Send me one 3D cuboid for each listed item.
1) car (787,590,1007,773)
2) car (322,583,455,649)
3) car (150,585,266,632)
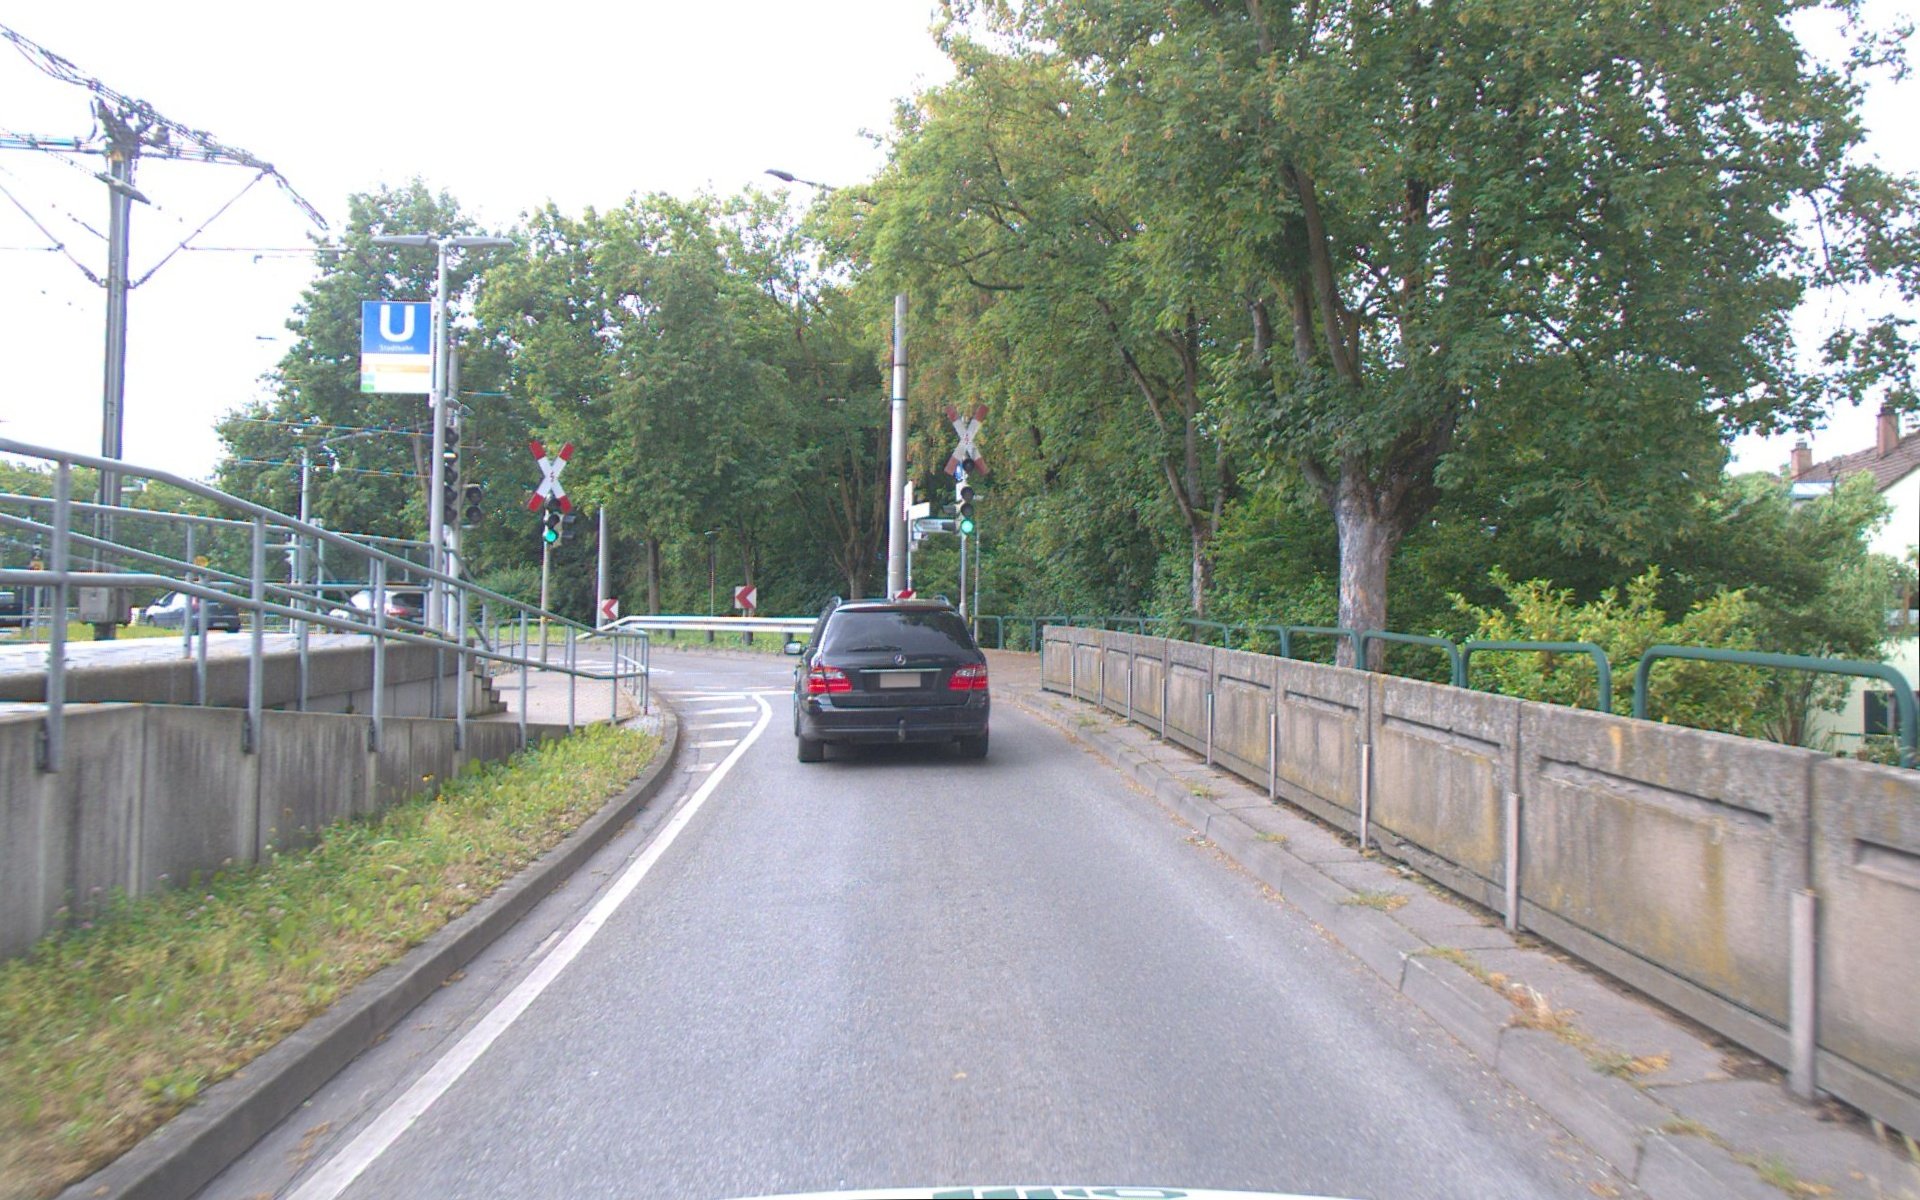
[{"bbox_3d":[-0.738,0.701,16.184,1.748,1.552,3.992,0,0,-8],"label":"car"},{"bbox_3d":[-15.520,0.414,44.825,3.930,1.677,1.776,1,0,43],"label":"car"},{"bbox_3d":[-24.160,0.266,53.096,3.929,1.424,1.988,1,0,42],"label":"car"}]
